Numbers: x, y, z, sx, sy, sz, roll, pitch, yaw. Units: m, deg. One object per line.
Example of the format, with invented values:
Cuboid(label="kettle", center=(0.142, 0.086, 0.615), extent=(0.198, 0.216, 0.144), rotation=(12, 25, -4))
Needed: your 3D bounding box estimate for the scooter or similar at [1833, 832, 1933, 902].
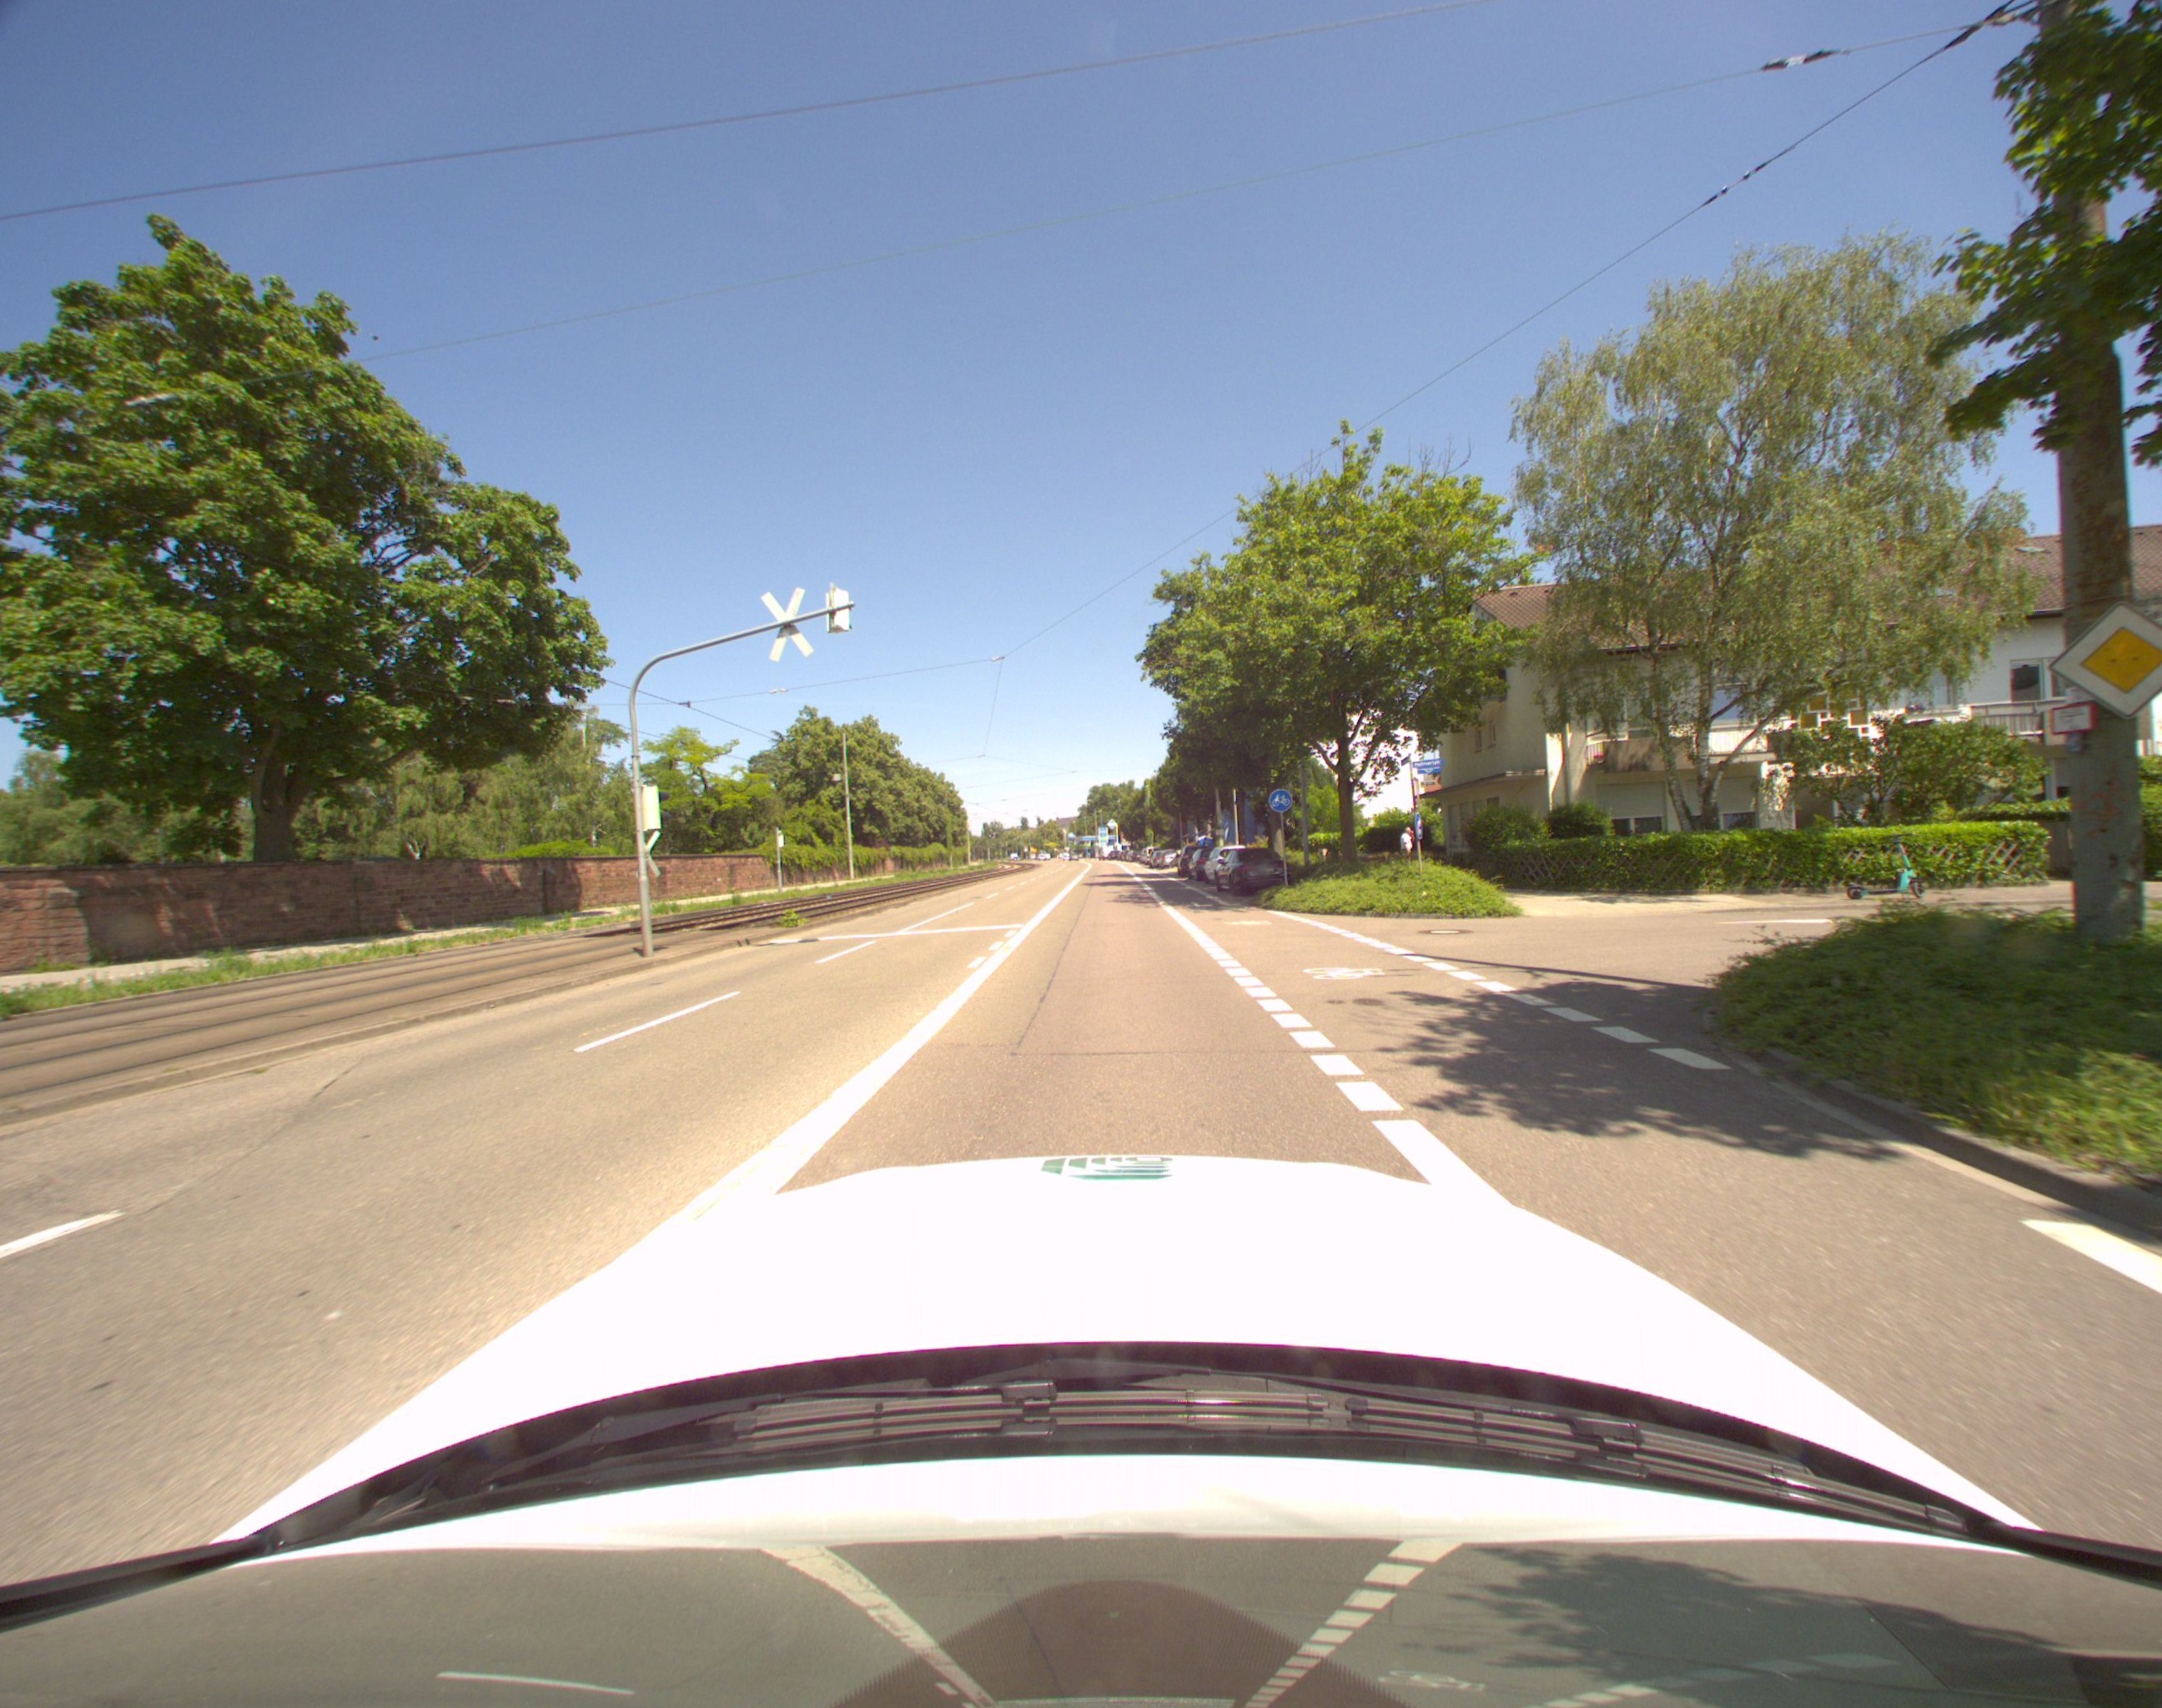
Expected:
Cuboid(label="scooter or similar", center=(15.193, 0.245, 15.454), extent=(1.175, 1.271, 0.604), rotation=(-3, 0, 18))

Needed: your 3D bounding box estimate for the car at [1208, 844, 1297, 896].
Cuboid(label="car", center=(5.583, 0.480, 27.154), extent=(1.835, 1.436, 4.824), rotation=(-5, 0, 0))

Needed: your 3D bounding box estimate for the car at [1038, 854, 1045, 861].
Cuboid(label="car", center=(-11.564, 1.141, 238.564), extent=(1.754, 1.874, 4.313), rotation=(-5, 0, -7))

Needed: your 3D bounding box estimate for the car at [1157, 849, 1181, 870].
Cuboid(label="car", center=(7.156, 0.403, 66.427), extent=(1.513, 1.529, 3.818), rotation=(-5, 0, 2))

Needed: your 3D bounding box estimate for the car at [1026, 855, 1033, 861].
Cuboid(label="car", center=(-16.030, 1.175, 252.589), extent=(1.753, 1.630, 4.315), rotation=(-5, 0, -6))

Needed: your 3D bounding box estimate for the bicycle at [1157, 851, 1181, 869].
Cuboid(label="bicycle", center=(6.938, 0.480, 64.392), extent=(1.765, 1.228, 0.685), rotation=(-7, -1, 6))

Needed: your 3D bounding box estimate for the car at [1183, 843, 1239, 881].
Cuboid(label="car", center=(6.120, 0.347, 38.779), extent=(1.835, 1.529, 4.352), rotation=(-5, 0, -1))

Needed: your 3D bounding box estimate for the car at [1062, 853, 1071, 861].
Cuboid(label="car", center=(-3.461, 0.699, 197.339), extent=(1.753, 1.630, 4.315), rotation=(-5, 0, -6))

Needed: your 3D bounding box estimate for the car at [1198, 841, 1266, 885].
Cuboid(label="car", center=(6.087, 0.334, 33.307), extent=(1.835, 1.529, 4.204), rotation=(-5, 0, -1))

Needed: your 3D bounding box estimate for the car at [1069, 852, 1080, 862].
Cuboid(label="car", center=(-1.303, 0.595, 161.432), extent=(1.754, 1.630, 4.313), rotation=(-5, 0, -7))

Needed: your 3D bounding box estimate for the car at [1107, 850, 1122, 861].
Cuboid(label="car", center=(5.597, 0.323, 136.599), extent=(1.754, 1.630, 4.313), rotation=(-5, 0, -7))

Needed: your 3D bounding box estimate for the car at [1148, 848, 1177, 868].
Cuboid(label="car", center=(7.083, 0.293, 71.440), extent=(1.835, 1.529, 4.964), rotation=(-5, 0, -1))

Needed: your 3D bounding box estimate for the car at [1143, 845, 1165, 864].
Cuboid(label="car", center=(7.695, 0.017, 86.415), extent=(1.835, 1.793, 4.354), rotation=(-5, 0, 0))

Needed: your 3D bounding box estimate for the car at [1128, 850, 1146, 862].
Cuboid(label="car", center=(7.503, 0.286, 109.473), extent=(1.703, 1.492, 5.034), rotation=(-5, 0, -2))

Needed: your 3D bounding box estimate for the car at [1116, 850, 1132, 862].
Cuboid(label="car", center=(6.663, 0.310, 126.596), extent=(1.705, 1.562, 4.315), rotation=(-5, 0, -6))

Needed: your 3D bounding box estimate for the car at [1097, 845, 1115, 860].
Cuboid(label="car", center=(4.521, -0.184, 146.745), extent=(2.000, 2.456, 6.092), rotation=(-5, 0, -8))

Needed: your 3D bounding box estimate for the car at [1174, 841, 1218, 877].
Cuboid(label="car", center=(6.213, 0.225, 44.515), extent=(1.833, 1.706, 4.630), rotation=(-5, 0, 3))

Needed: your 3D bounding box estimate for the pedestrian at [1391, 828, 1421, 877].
Cuboid(label="pedestrian", center=(11.590, -0.050, 29.020), extent=(0.746, 1.722, 0.632), rotation=(-2, 0, -5))

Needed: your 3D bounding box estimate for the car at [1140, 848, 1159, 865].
Cuboid(label="car", center=(7.769, 0.232, 92.601), extent=(1.833, 1.694, 4.781), rotation=(-5, 0, 2))
